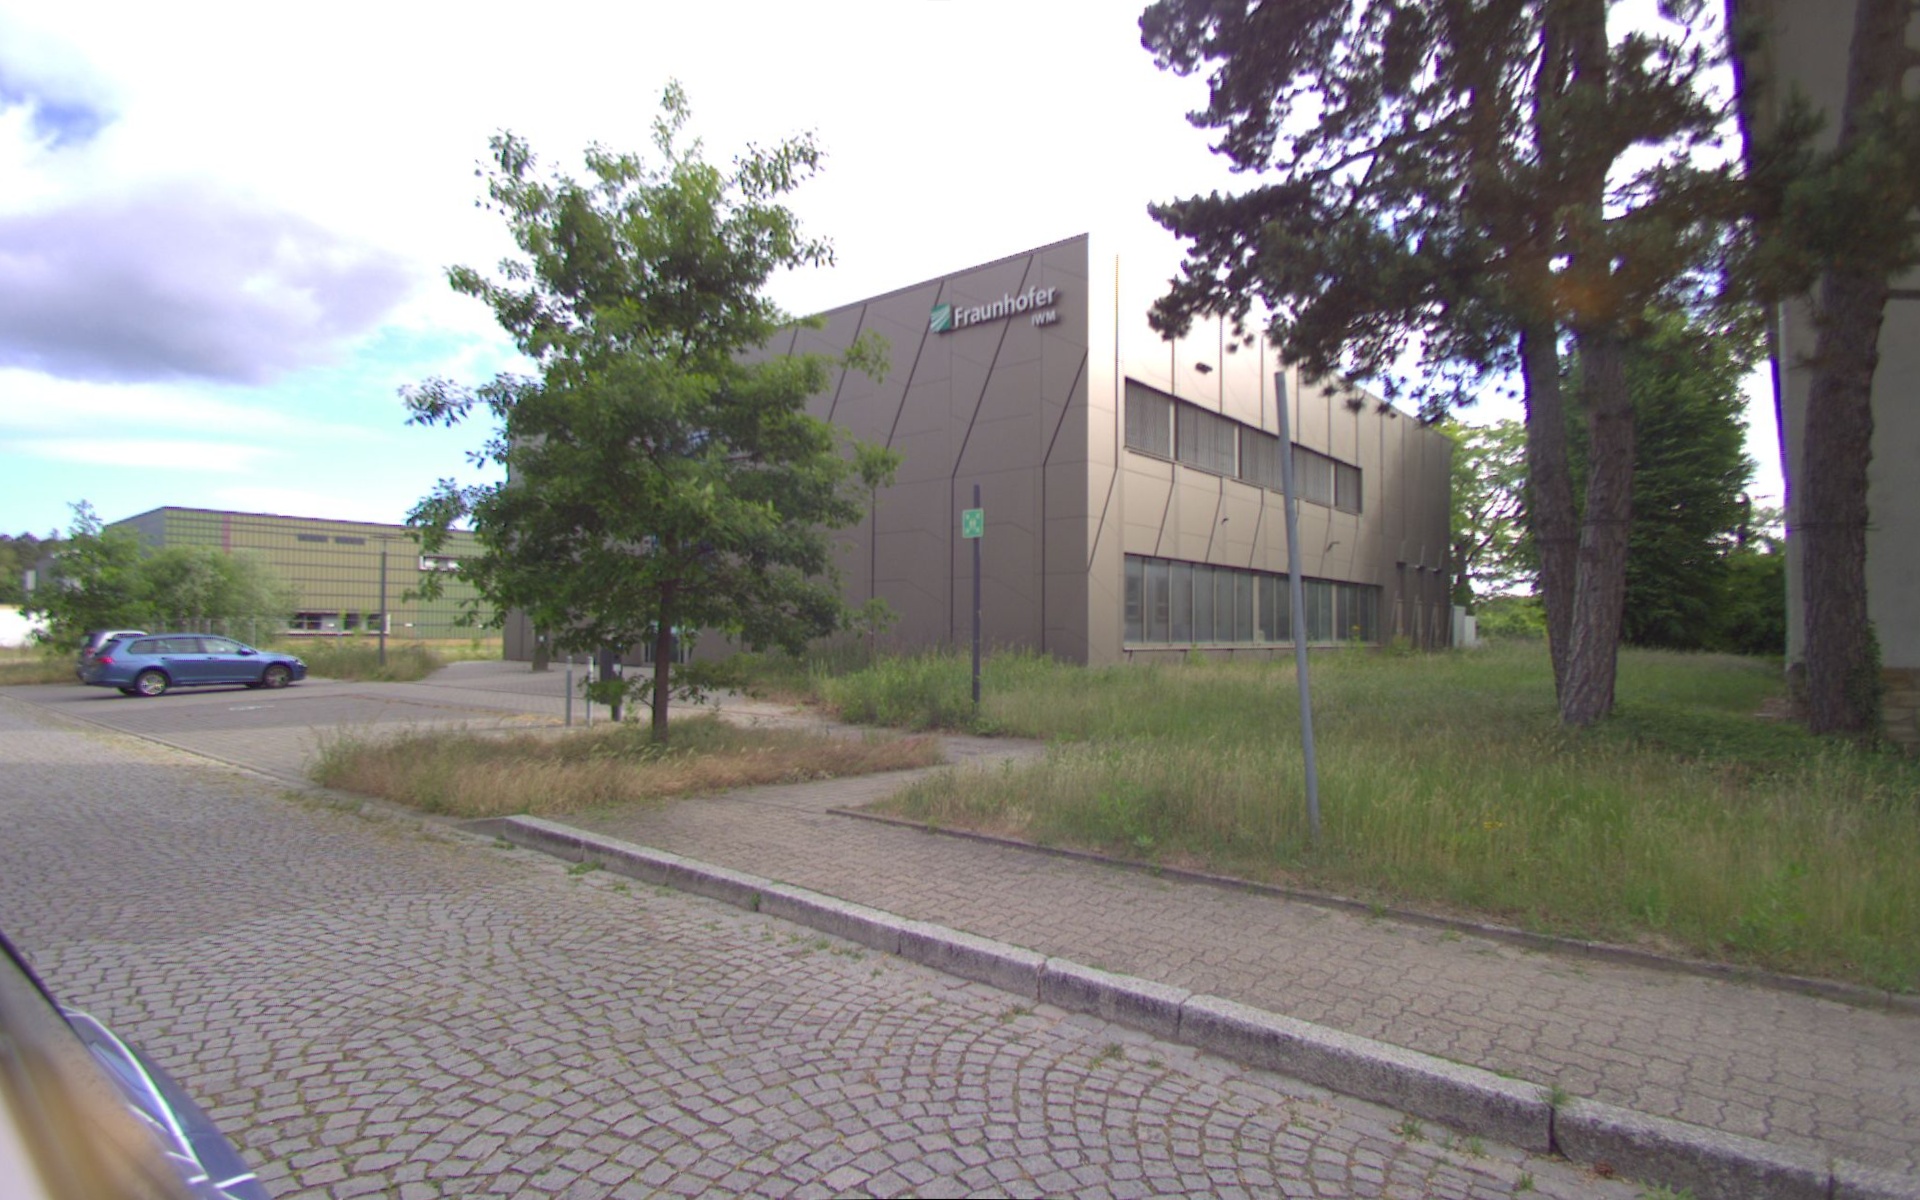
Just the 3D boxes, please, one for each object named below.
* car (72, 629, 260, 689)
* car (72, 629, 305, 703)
[{"bbox_3d":[-24.035,1.724,30.727,4.340,1.557,1.843,-1,-1,-43],"label":"car"},{"bbox_3d":[-19.134,1.572,25.286,1.714,1.521,4.351,-1,0,37],"label":"car"}]
